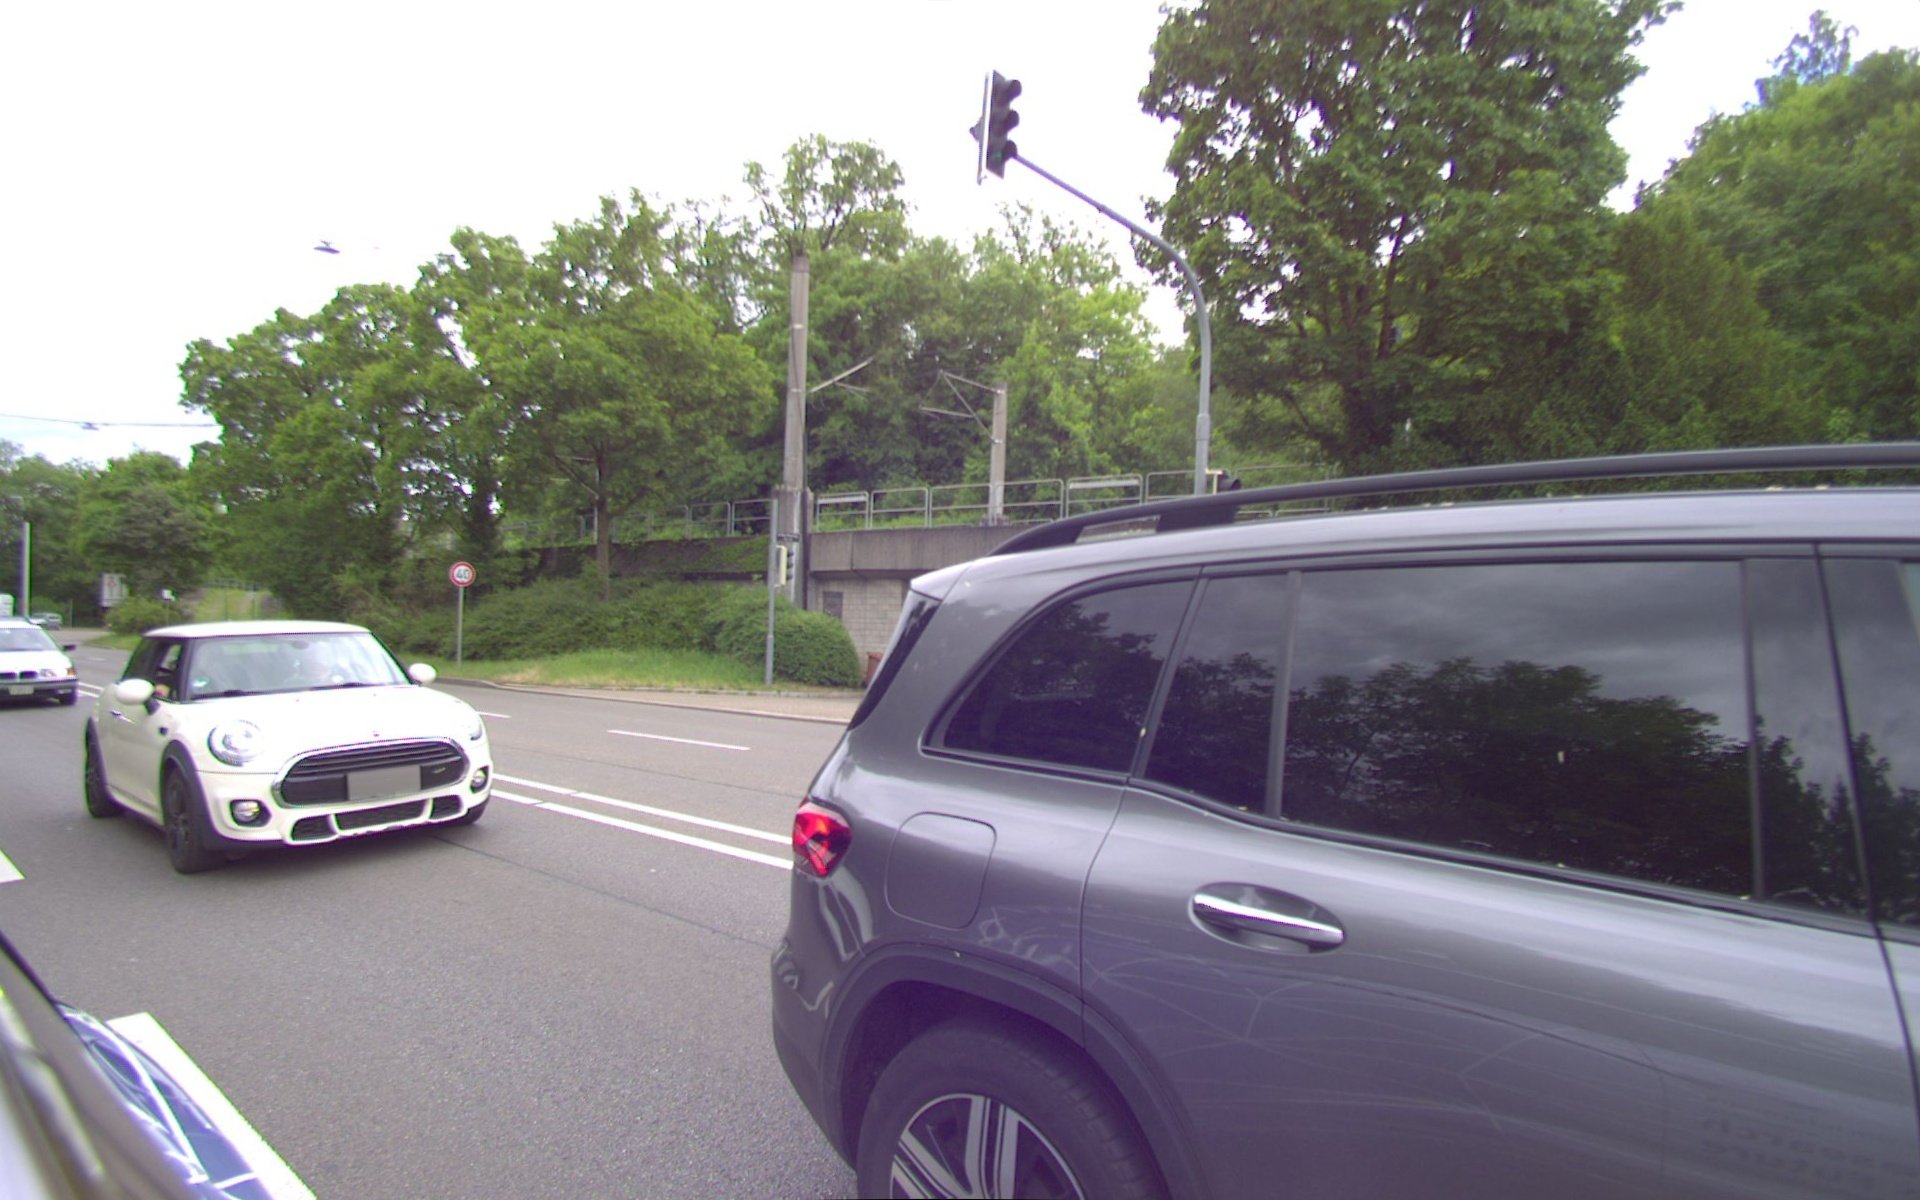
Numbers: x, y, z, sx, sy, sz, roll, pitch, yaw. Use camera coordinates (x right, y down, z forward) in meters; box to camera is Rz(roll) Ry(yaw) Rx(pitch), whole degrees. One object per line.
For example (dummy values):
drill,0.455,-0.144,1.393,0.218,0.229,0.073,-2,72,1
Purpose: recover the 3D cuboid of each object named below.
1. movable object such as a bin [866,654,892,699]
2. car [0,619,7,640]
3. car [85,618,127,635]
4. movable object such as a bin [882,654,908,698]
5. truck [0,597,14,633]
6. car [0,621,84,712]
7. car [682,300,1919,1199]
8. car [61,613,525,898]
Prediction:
movable object such as a bin,-1.988,1.881,24.844,0.503,1.071,0.414,-1,-3,36
car,-77.932,2.319,81.041,1.825,1.664,4.367,3,-3,-37
car,-89.686,2.843,106.306,1.823,1.664,4.371,2,-3,-19
movable object such as a bin,-1.632,1.902,25.401,0.503,1.071,0.414,-1,-3,36
truck,-87.163,1.234,89.552,2.164,3.180,6.670,2,-3,-17
car,-16.412,1.073,17.212,4.179,1.401,1.643,-1,-1,40
car,1.665,0.560,1.439,4.353,1.664,1.831,-1,-1,40
car,-4.713,0.821,6.962,3.729,1.434,1.667,-1,-1,40
